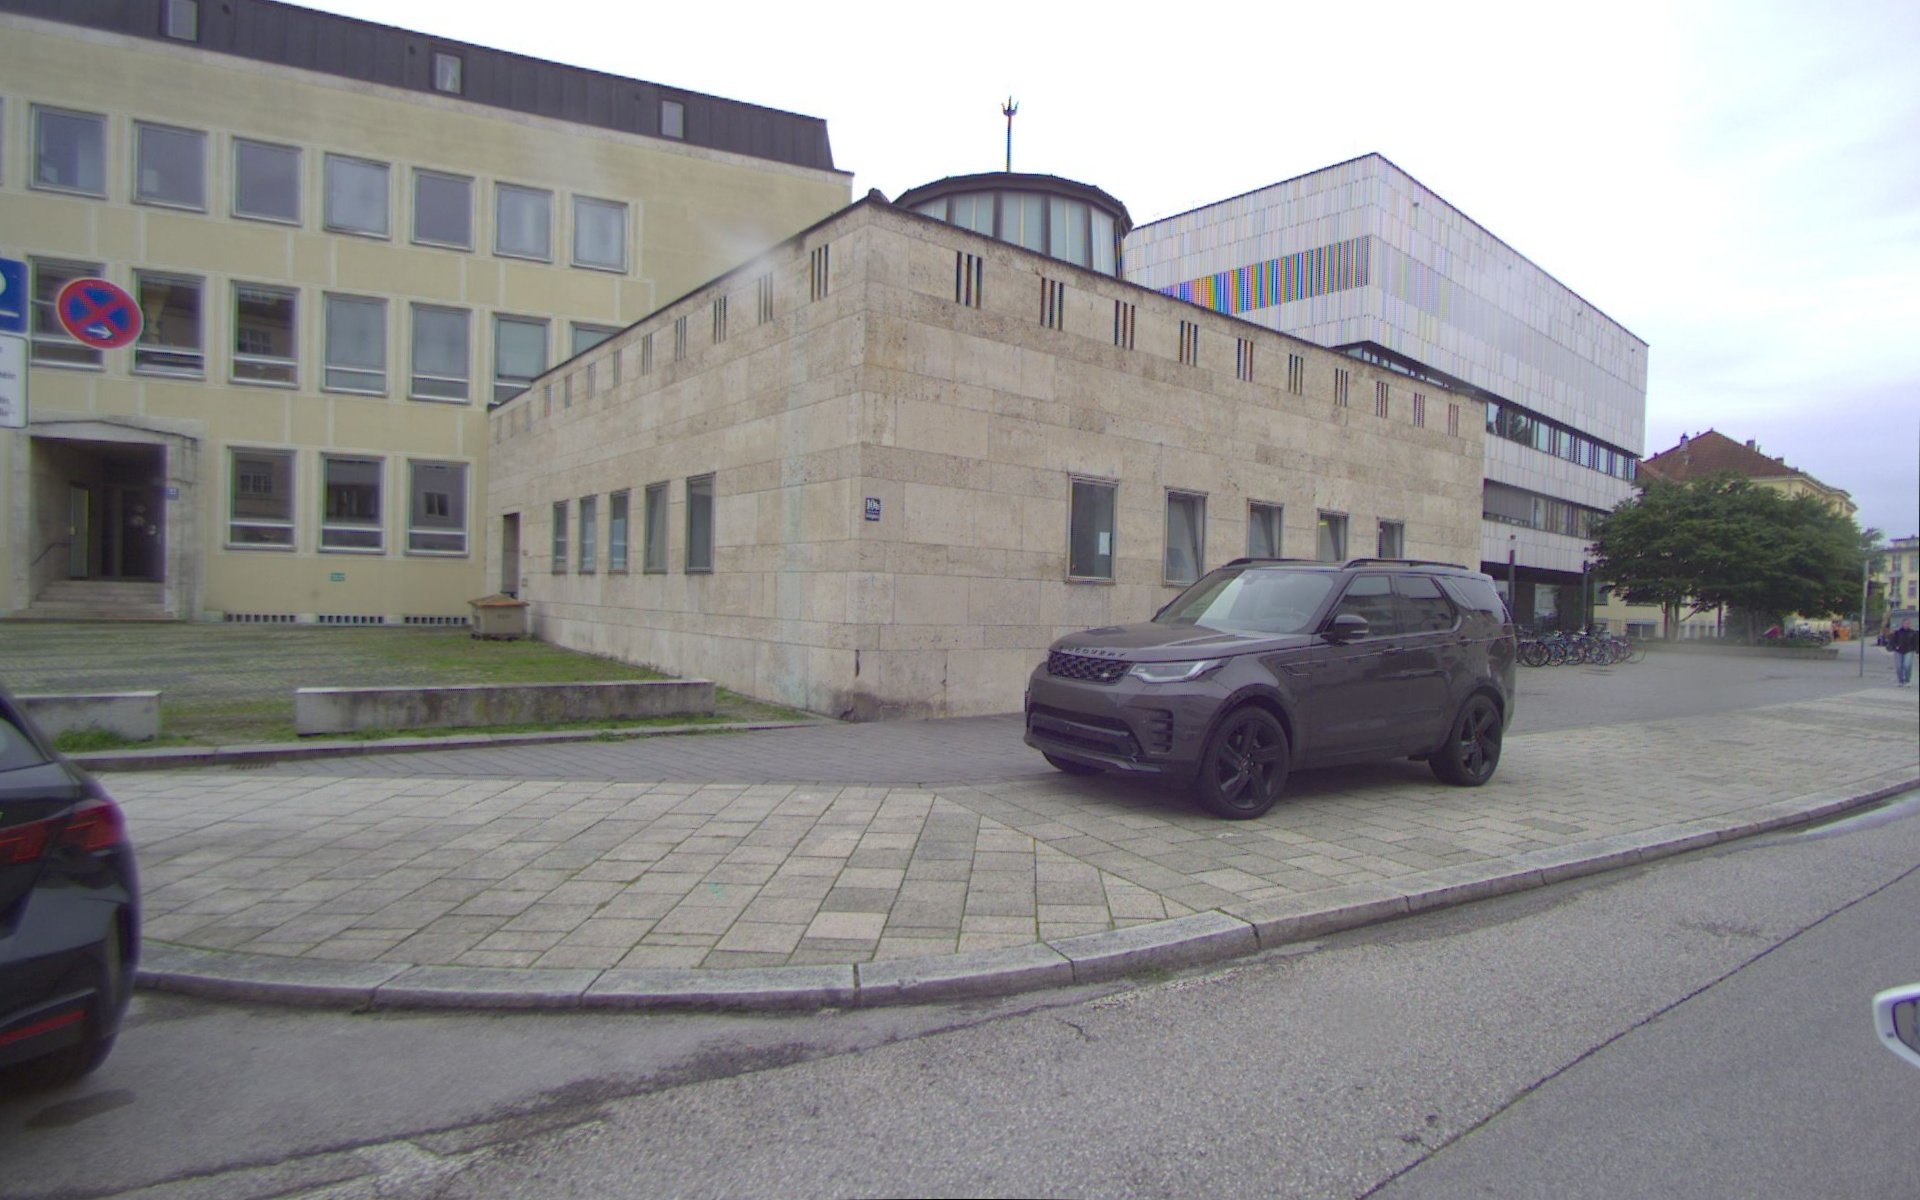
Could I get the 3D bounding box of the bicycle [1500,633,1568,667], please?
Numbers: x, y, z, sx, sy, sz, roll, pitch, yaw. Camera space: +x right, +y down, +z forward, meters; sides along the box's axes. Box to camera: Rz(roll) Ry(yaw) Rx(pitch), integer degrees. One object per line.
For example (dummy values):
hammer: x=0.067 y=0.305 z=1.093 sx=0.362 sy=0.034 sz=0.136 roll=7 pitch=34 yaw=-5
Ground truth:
bicycle: x=16.887 y=1.465 z=29.575 sx=1.626 sy=0.808 sz=0.526 roll=7 pitch=4 yaw=41

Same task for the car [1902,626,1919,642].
car: x=92.955 y=3.319 z=97.849 sx=1.614 sy=1.503 sz=3.591 roll=3 pitch=1 yaw=42

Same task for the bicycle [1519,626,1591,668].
bicycle: x=17.921 y=1.397 z=30.278 sx=1.706 sy=1.046 sz=0.526 roll=7 pitch=4 yaw=41

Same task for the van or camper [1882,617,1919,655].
van or camper: x=68.251 y=2.569 z=72.633 sx=2.075 sy=2.585 sz=4.741 roll=3 pitch=1 yaw=45

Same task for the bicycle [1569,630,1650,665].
bicycle: x=21.482 y=1.542 z=33.244 sx=2.091 sy=0.890 sz=0.824 roll=7 pitch=4 yaw=42

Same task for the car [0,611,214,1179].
car: x=-4.324 y=0.741 z=3.229 sx=3.930 sy=1.439 sz=1.810 roll=0 pitch=-2 yaw=33

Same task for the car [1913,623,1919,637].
car: x=106.204 y=3.381 z=110.674 sx=3.586 sy=1.503 sz=1.617 roll=2 pitch=1 yaw=-44

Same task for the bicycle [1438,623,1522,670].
bicycle: x=14.225 y=1.246 z=27.522 sx=1.889 sy=1.046 sz=0.536 roll=7 pitch=4 yaw=44

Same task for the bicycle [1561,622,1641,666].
bicycle: x=20.531 y=1.385 z=32.217 sx=2.007 sy=1.172 sz=0.591 roll=7 pitch=4 yaw=42

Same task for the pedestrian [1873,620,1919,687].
pedestrian: x=24.176 y=1.361 z=25.802 sx=0.909 sy=1.651 sz=0.758 roll=1 pitch=1 yaw=-28

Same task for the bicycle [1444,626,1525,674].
bicycle: x=13.606 y=1.275 z=26.091 sx=1.690 sy=1.046 sz=0.536 roll=7 pitch=4 yaw=44

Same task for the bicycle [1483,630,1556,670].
bicycle: x=15.728 y=1.389 z=28.279 sx=1.628 sy=0.925 sz=0.593 roll=7 pitch=4 yaw=44

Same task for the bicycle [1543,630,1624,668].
bicycle: x=19.314 y=1.503 z=31.142 sx=2.007 sy=0.898 sz=0.671 roll=7 pitch=4 yaw=42

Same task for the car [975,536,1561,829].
car: x=2.695 y=0.544 z=8.264 sx=4.837 sy=1.759 sz=2.038 roll=2 pitch=0 yaw=-35

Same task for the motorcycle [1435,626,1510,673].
motorcycle: x=12.990 y=1.248 z=25.508 sx=1.589 sy=1.084 sz=0.510 roll=3 pitch=1 yaw=45
